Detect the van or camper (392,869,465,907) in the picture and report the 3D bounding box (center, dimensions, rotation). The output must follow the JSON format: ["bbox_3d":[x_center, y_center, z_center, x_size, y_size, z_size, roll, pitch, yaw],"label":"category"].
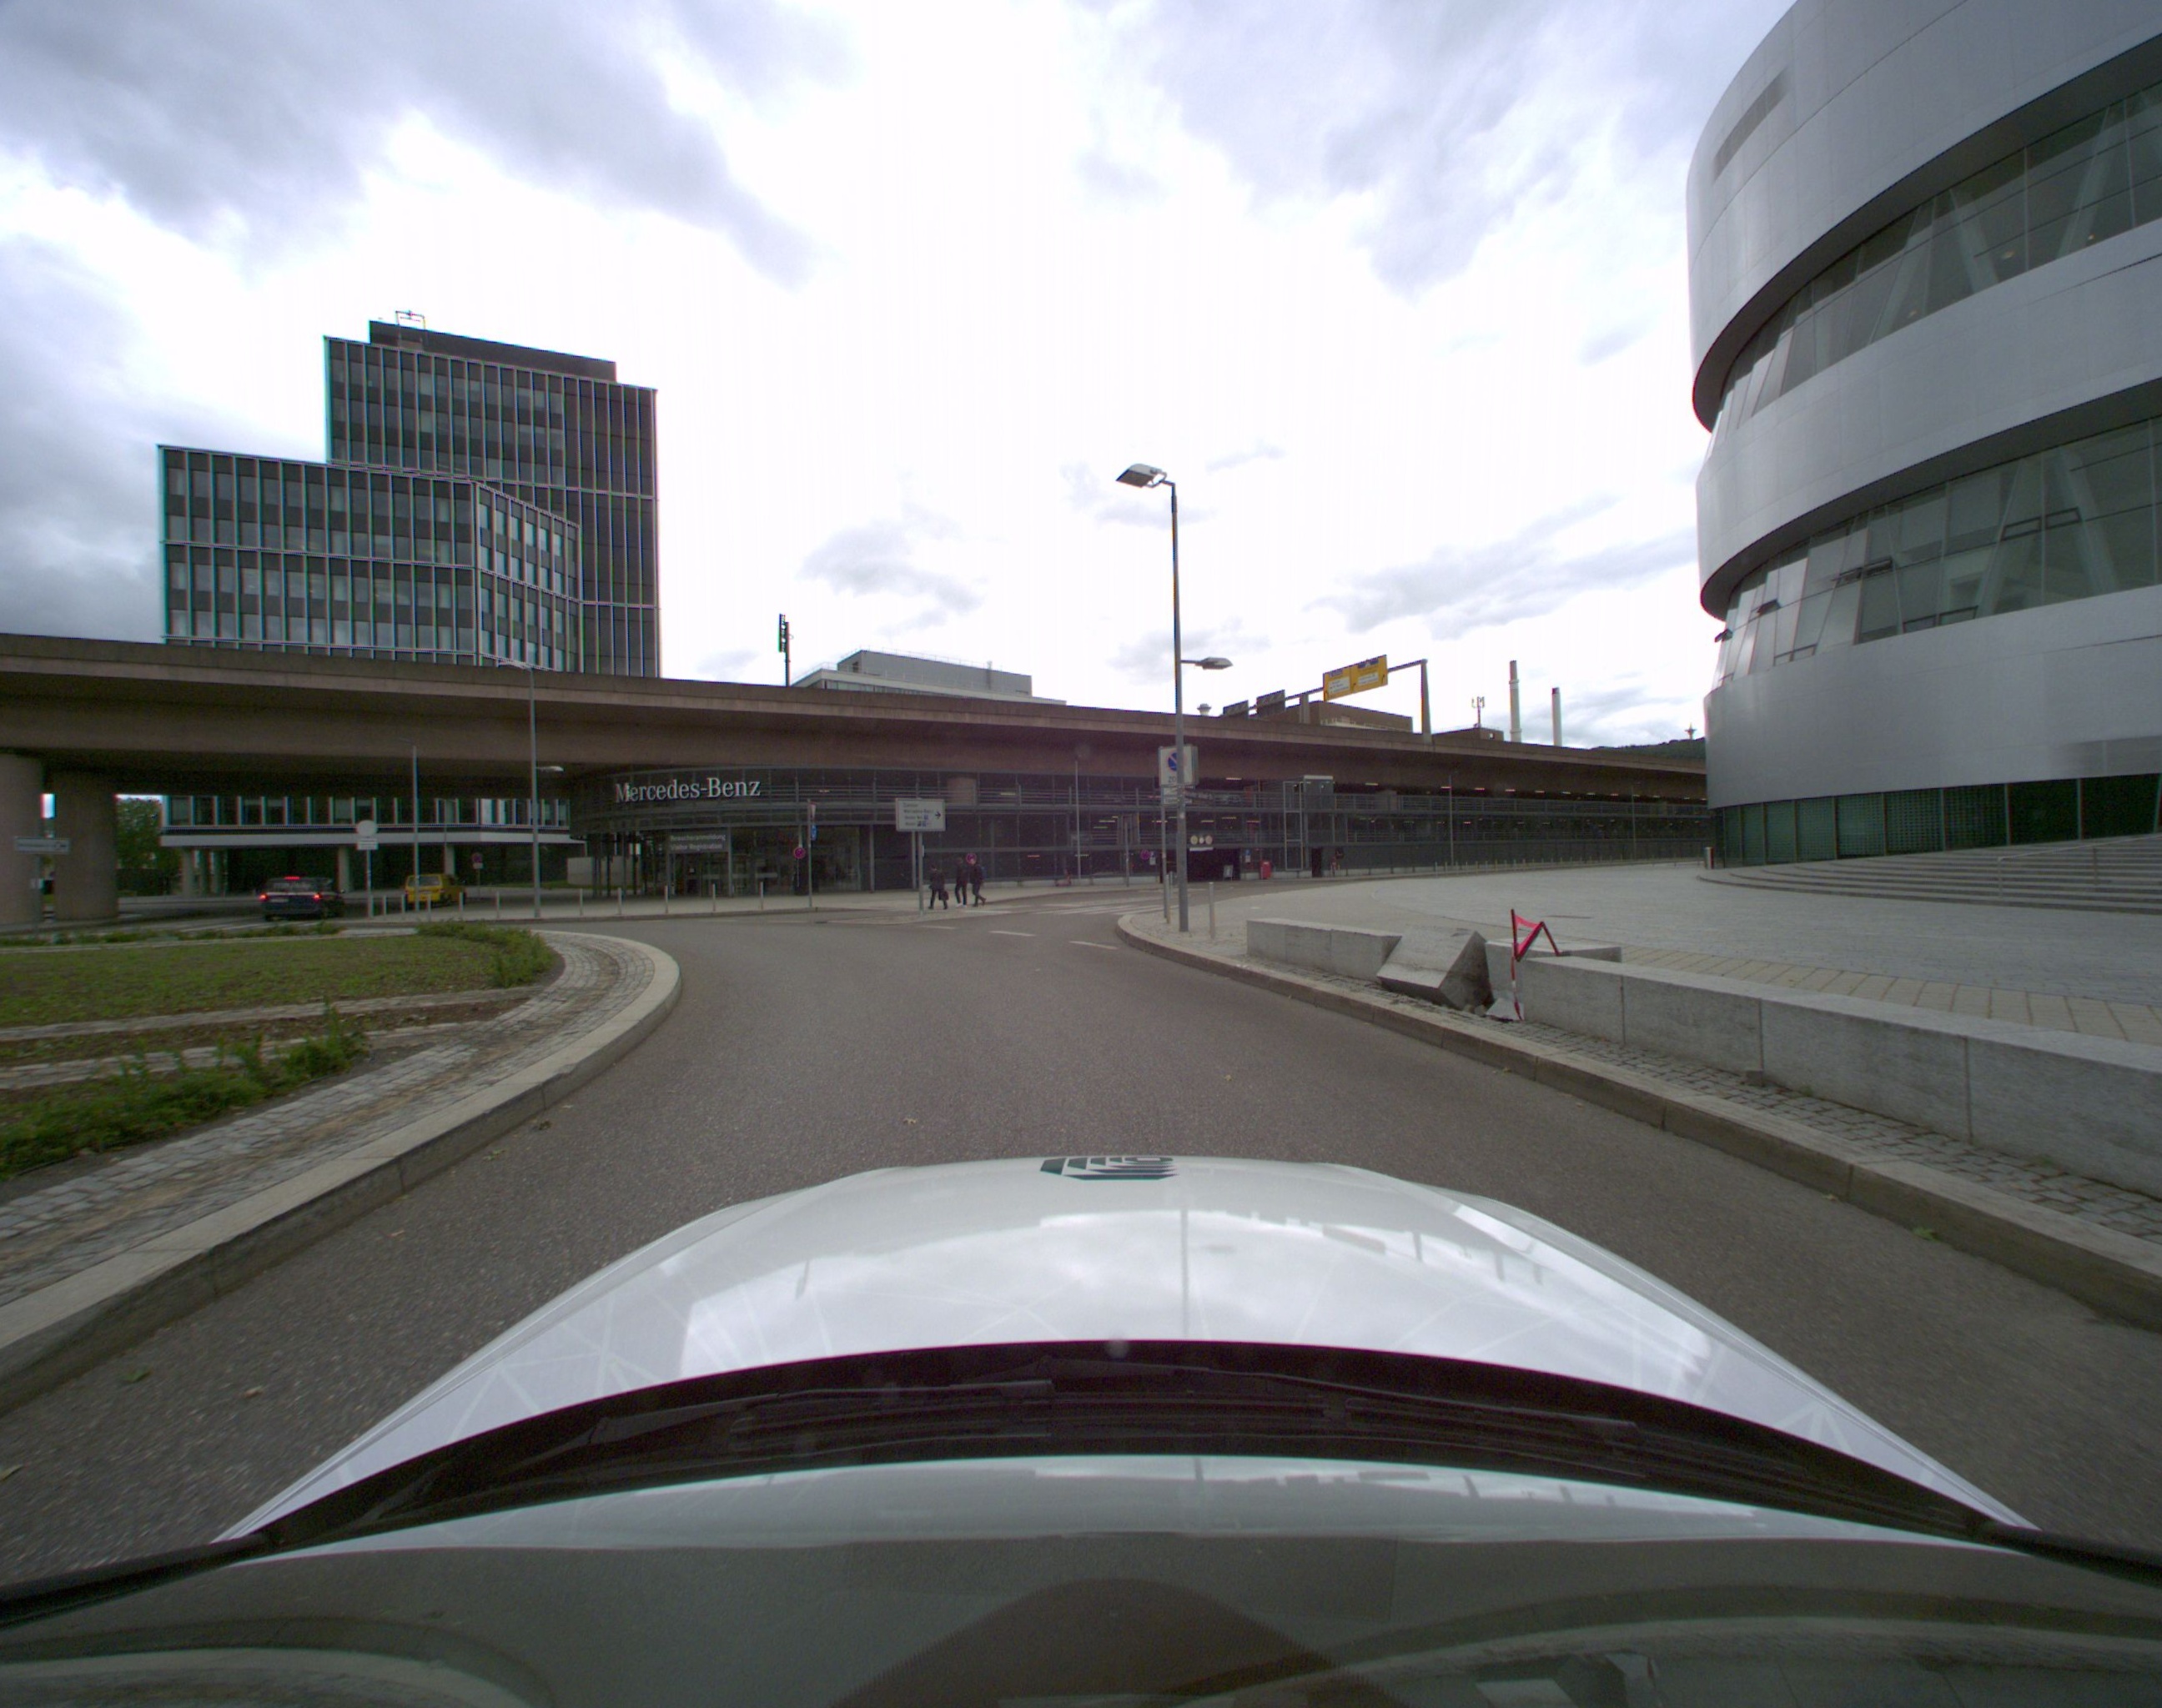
[{"bbox_3d":[-37.719,1.914,47.227,2.367,1.999,4.467,0,-1,-26],"label":"van or camper"}]

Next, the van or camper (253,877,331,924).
[{"bbox_3d":[-34.991,1.995,36.247,2.165,1.893,4.843,0,-1,-41],"label":"van or camper"}]

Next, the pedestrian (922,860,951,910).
[{"bbox_3d":[-5.052,1.075,28.571,0.859,1.705,0.773,0,-1,1],"label":"pedestrian"}]

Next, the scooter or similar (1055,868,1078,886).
[{"bbox_3d":[-0.920,1.429,51.425,1.431,1.123,0.378,0,-1,-27],"label":"scooter or similar"}]

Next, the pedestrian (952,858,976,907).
[{"bbox_3d":[-4.149,1.015,28.920,0.783,1.705,0.771,0,-1,-4],"label":"pedestrian"}]

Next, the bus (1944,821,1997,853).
[{"bbox_3d":[100.189,-1.839,91.667,6.993,3.441,2.902,0,-1,-33],"label":"bus"}]

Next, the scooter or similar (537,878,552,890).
[{"bbox_3d":[-47.372,2.641,71.872,1.482,1.105,0.705,-1,-1,41],"label":"scooter or similar"}]

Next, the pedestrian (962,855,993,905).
[{"bbox_3d":[-3.805,0.948,29.947,0.869,1.798,0.774,0,-1,-38],"label":"pedestrian"}]
